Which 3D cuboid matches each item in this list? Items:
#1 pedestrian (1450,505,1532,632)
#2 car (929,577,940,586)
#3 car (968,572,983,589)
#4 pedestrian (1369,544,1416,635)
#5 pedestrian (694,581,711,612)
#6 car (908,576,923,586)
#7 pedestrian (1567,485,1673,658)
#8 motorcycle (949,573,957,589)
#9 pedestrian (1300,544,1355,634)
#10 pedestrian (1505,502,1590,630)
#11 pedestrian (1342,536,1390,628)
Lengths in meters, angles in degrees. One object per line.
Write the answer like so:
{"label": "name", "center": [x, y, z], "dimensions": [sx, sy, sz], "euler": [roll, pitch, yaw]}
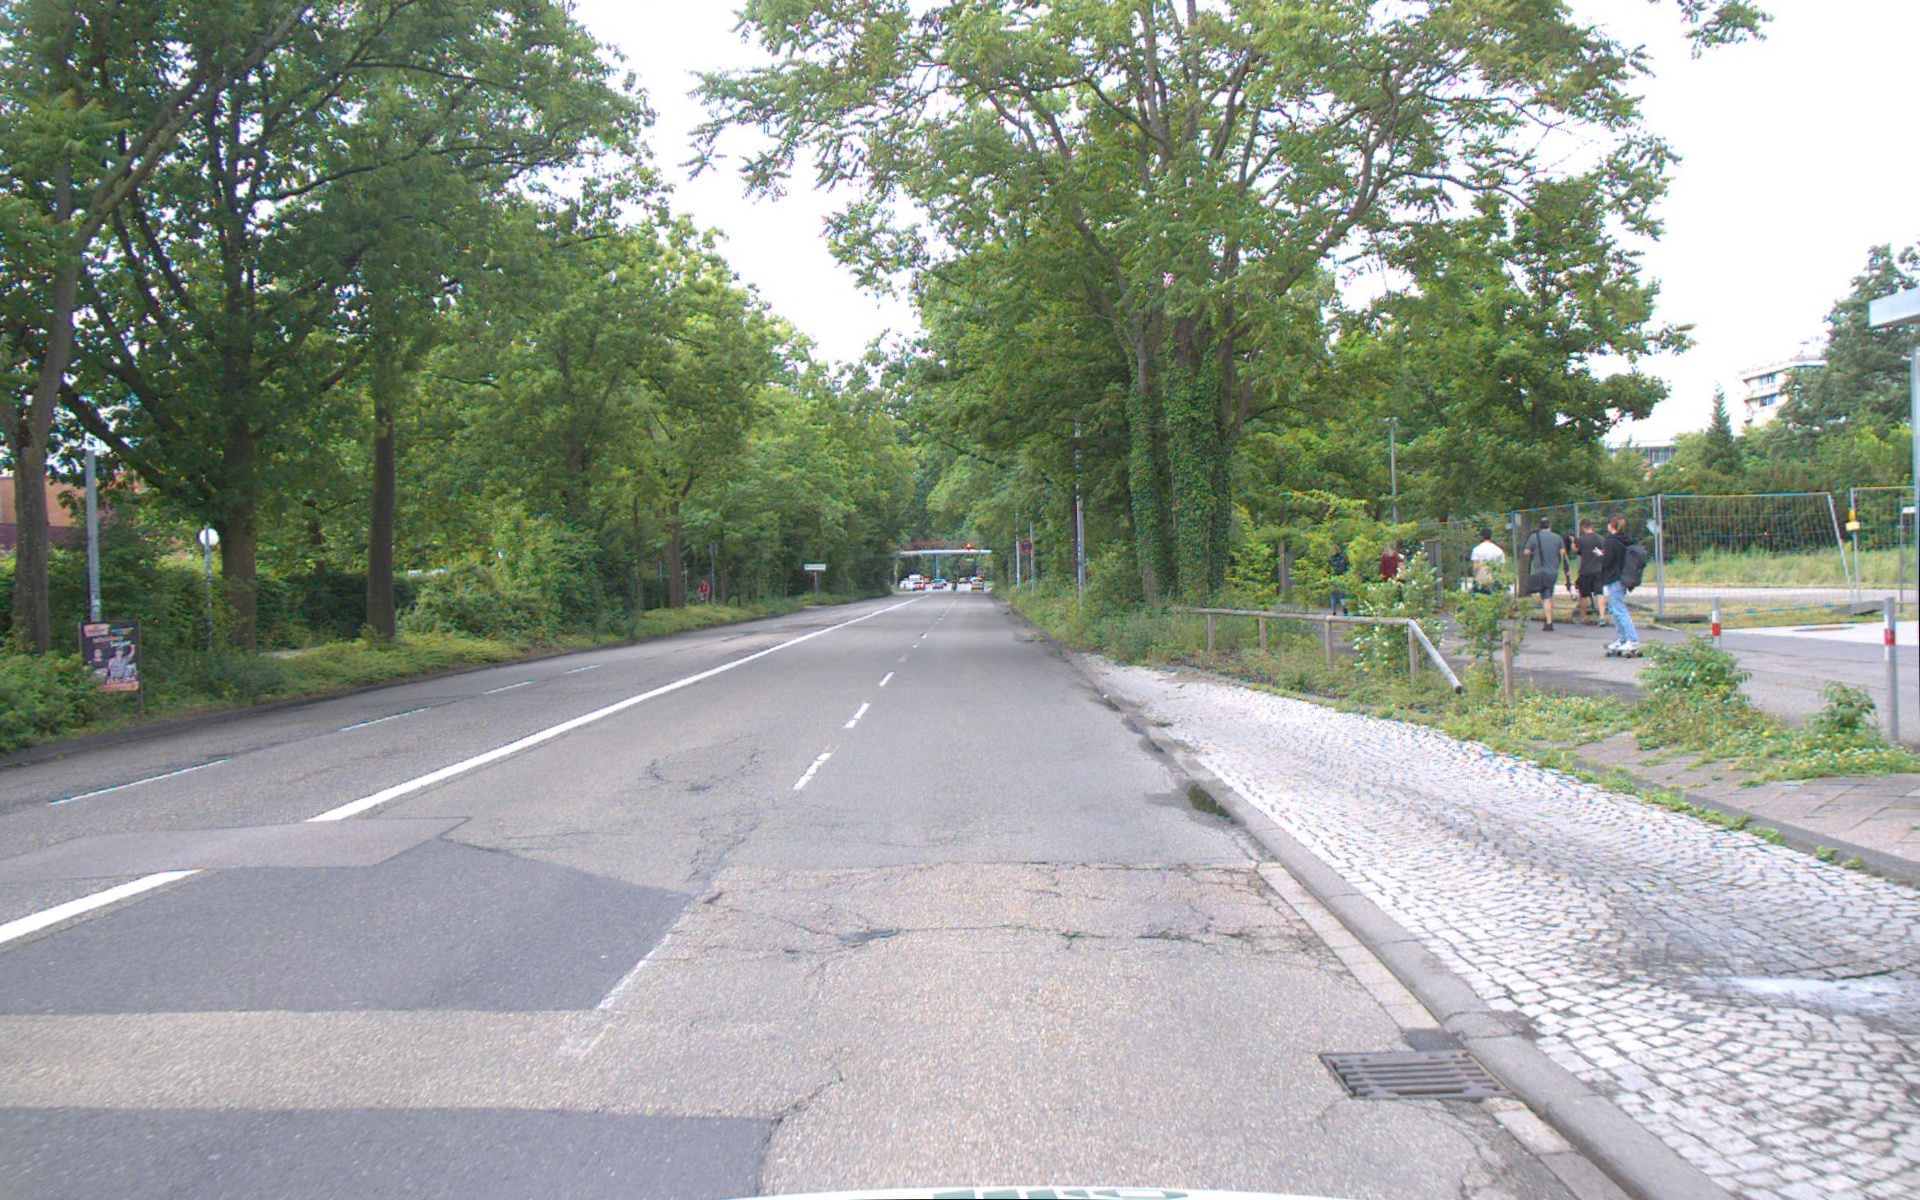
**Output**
{"label": "pedestrian", "center": [8.932, -0.530, 27.862], "dimensions": [0.907, 2.048, 1.039], "euler": [-3, 0, -4]}
{"label": "car", "center": [-3.840, -2.838, 251.098], "dimensions": [1.640, 1.386, 3.921], "euler": [-1, 1, 0]}
{"label": "car", "center": [1.934, -2.453, 204.131], "dimensions": [1.805, 2.049, 4.000], "euler": [-1, 1, 0]}
{"label": "pedestrian", "center": [10.015, -0.244, 38.293], "dimensions": [0.807, 2.048, 0.720], "euler": [-3, 0, 0]}
{"label": "pedestrian", "center": [-13.764, -0.205, 88.457], "dimensions": [0.775, 1.641, 0.848], "euler": [-1, 0, 0]}
{"label": "car", "center": [-6.737, -2.887, 250.784], "dimensions": [1.952, 1.377, 3.896], "euler": [-1, 1, 3]}
{"label": "pedestrian", "center": [8.145, -0.349, 20.440], "dimensions": [0.826, 2.048, 0.893], "euler": [-3, 0, -5]}
{"label": "motorcycle", "center": [-0.869, -2.359, 207.728], "dimensions": [0.970, 1.970, 2.669], "euler": [-1, 1, 0]}
{"label": "pedestrian", "center": [8.605, -0.261, 38.735], "dimensions": [0.907, 2.048, 1.039], "euler": [-3, 0, -4]}
{"label": "pedestrian", "center": [9.812, -0.565, 27.659], "dimensions": [0.907, 2.048, 1.039], "euler": [-3, 0, -4]}
{"label": "pedestrian", "center": [9.344, -0.413, 38.095], "dimensions": [0.807, 2.048, 0.720], "euler": [-4, 0, 0]}
